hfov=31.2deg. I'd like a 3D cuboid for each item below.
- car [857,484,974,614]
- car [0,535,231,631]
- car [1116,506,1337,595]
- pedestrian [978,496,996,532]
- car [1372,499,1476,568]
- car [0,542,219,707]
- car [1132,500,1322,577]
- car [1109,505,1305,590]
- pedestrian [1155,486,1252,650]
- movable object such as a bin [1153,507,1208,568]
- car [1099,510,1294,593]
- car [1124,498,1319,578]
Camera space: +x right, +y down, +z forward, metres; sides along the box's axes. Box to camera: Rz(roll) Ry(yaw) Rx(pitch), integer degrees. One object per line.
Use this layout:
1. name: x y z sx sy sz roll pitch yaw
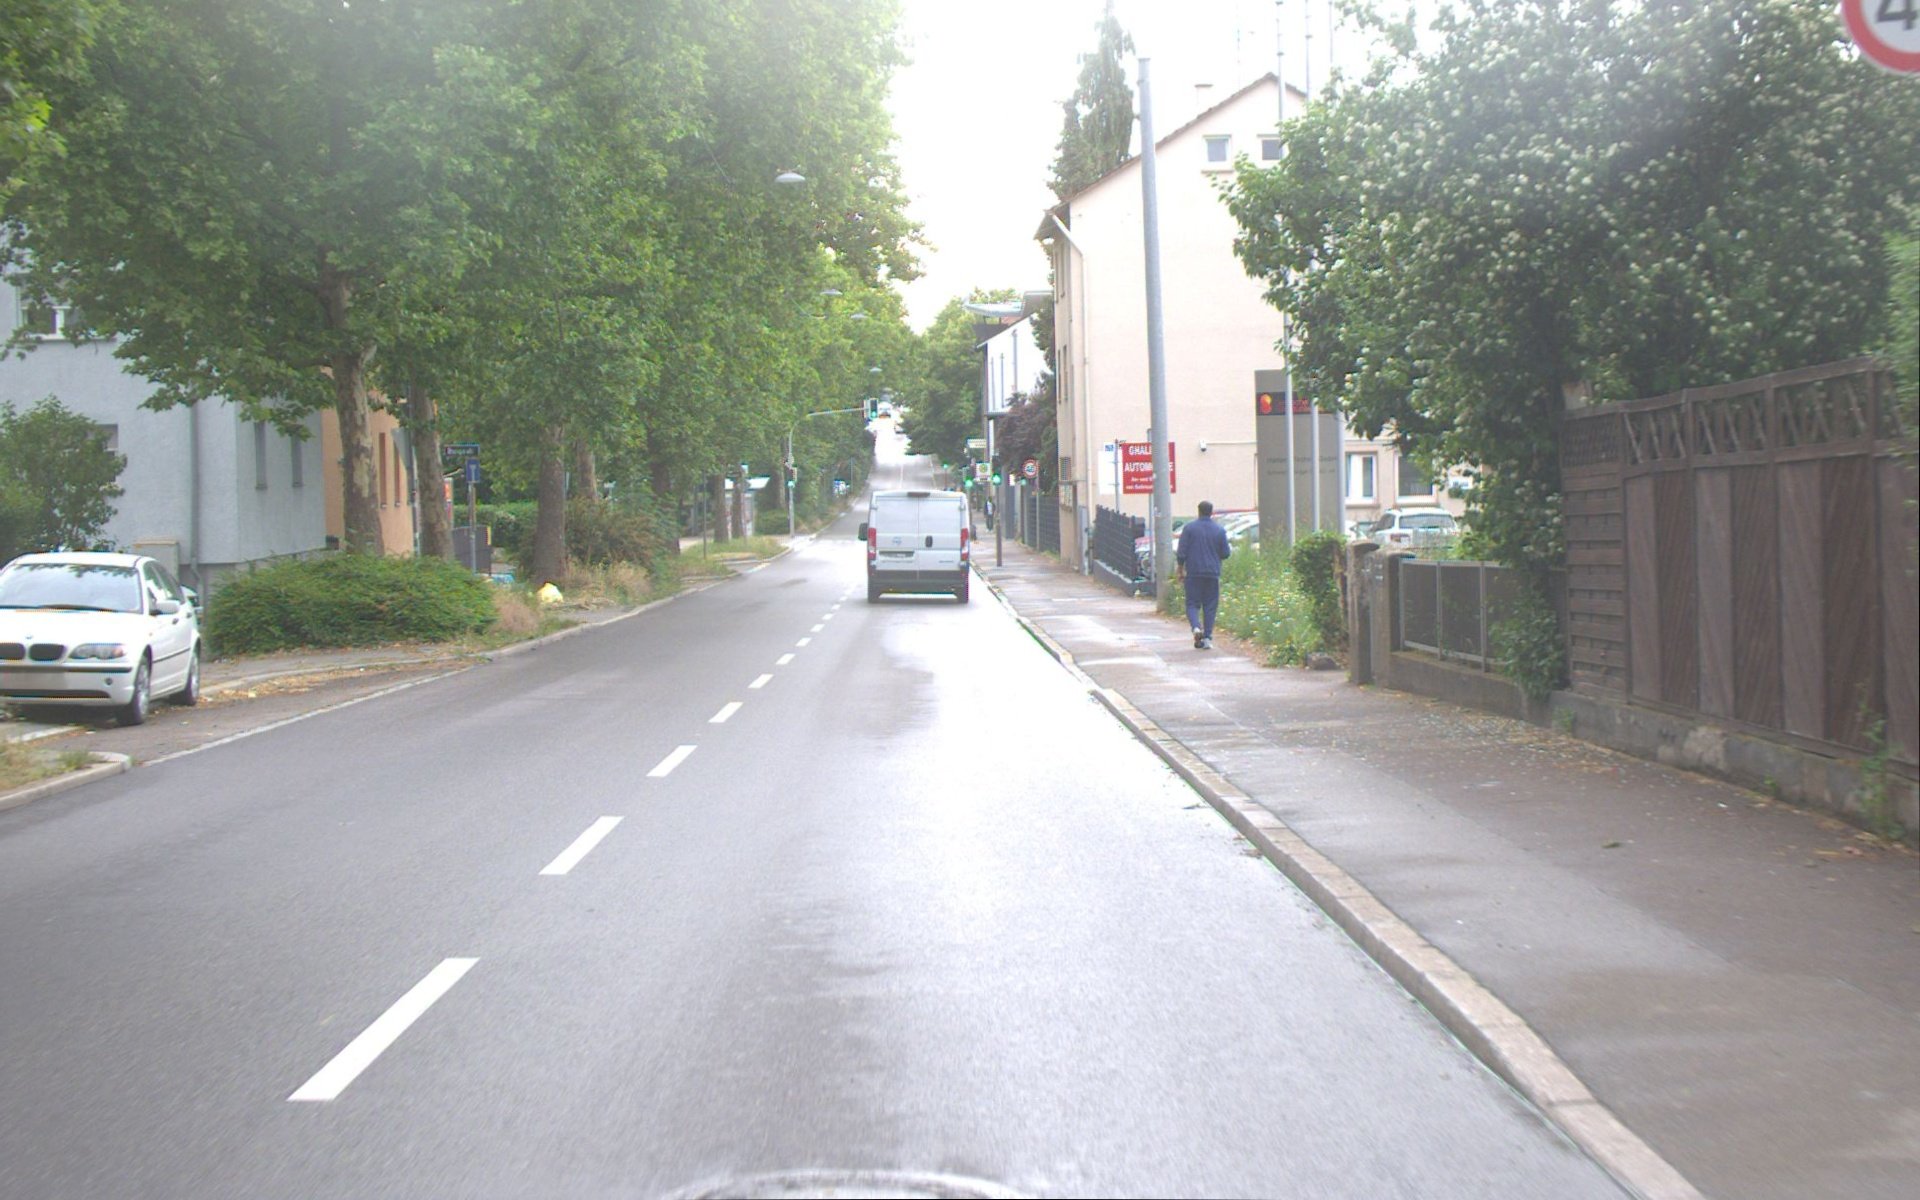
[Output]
1. car: -0.891 -1.017 69.566 2.282 2.544 4.000 0 0 0
2. car: -14.241 -0.286 55.248 4.662 1.471 1.870 1 0 -1
3. car: 5.364 -0.997 69.674 4.302 1.762 2.000 0 0 -1
4. pedestrian: 1.317 -4.158 166.364 0.742 1.698 0.902 1 1 -6
5. car: 10.659 -1.510 79.155 1.808 1.525 3.628 1 0 -1
6. car: -7.704 0.160 30.045 1.755 1.321 4.540 0 1 -4
7. car: 6.207 -1.423 80.252 4.228 1.730 1.870 1 0 -1
8. car: 5.173 -1.100 72.217 3.948 1.718 1.791 1 1 -1
9. pedestrian: 2.865 -0.375 40.476 1.043 1.891 0.901 -1 0 0
10. movable object such as a bin: 5.666 -1.595 88.402 1.234 1.504 1.111 -3 0 -1
11. car: 5.121 -1.050 74.716 4.066 1.730 1.870 1 0 -1
12. car: 5.872 -1.389 77.634 4.228 1.730 1.870 1 0 -1
